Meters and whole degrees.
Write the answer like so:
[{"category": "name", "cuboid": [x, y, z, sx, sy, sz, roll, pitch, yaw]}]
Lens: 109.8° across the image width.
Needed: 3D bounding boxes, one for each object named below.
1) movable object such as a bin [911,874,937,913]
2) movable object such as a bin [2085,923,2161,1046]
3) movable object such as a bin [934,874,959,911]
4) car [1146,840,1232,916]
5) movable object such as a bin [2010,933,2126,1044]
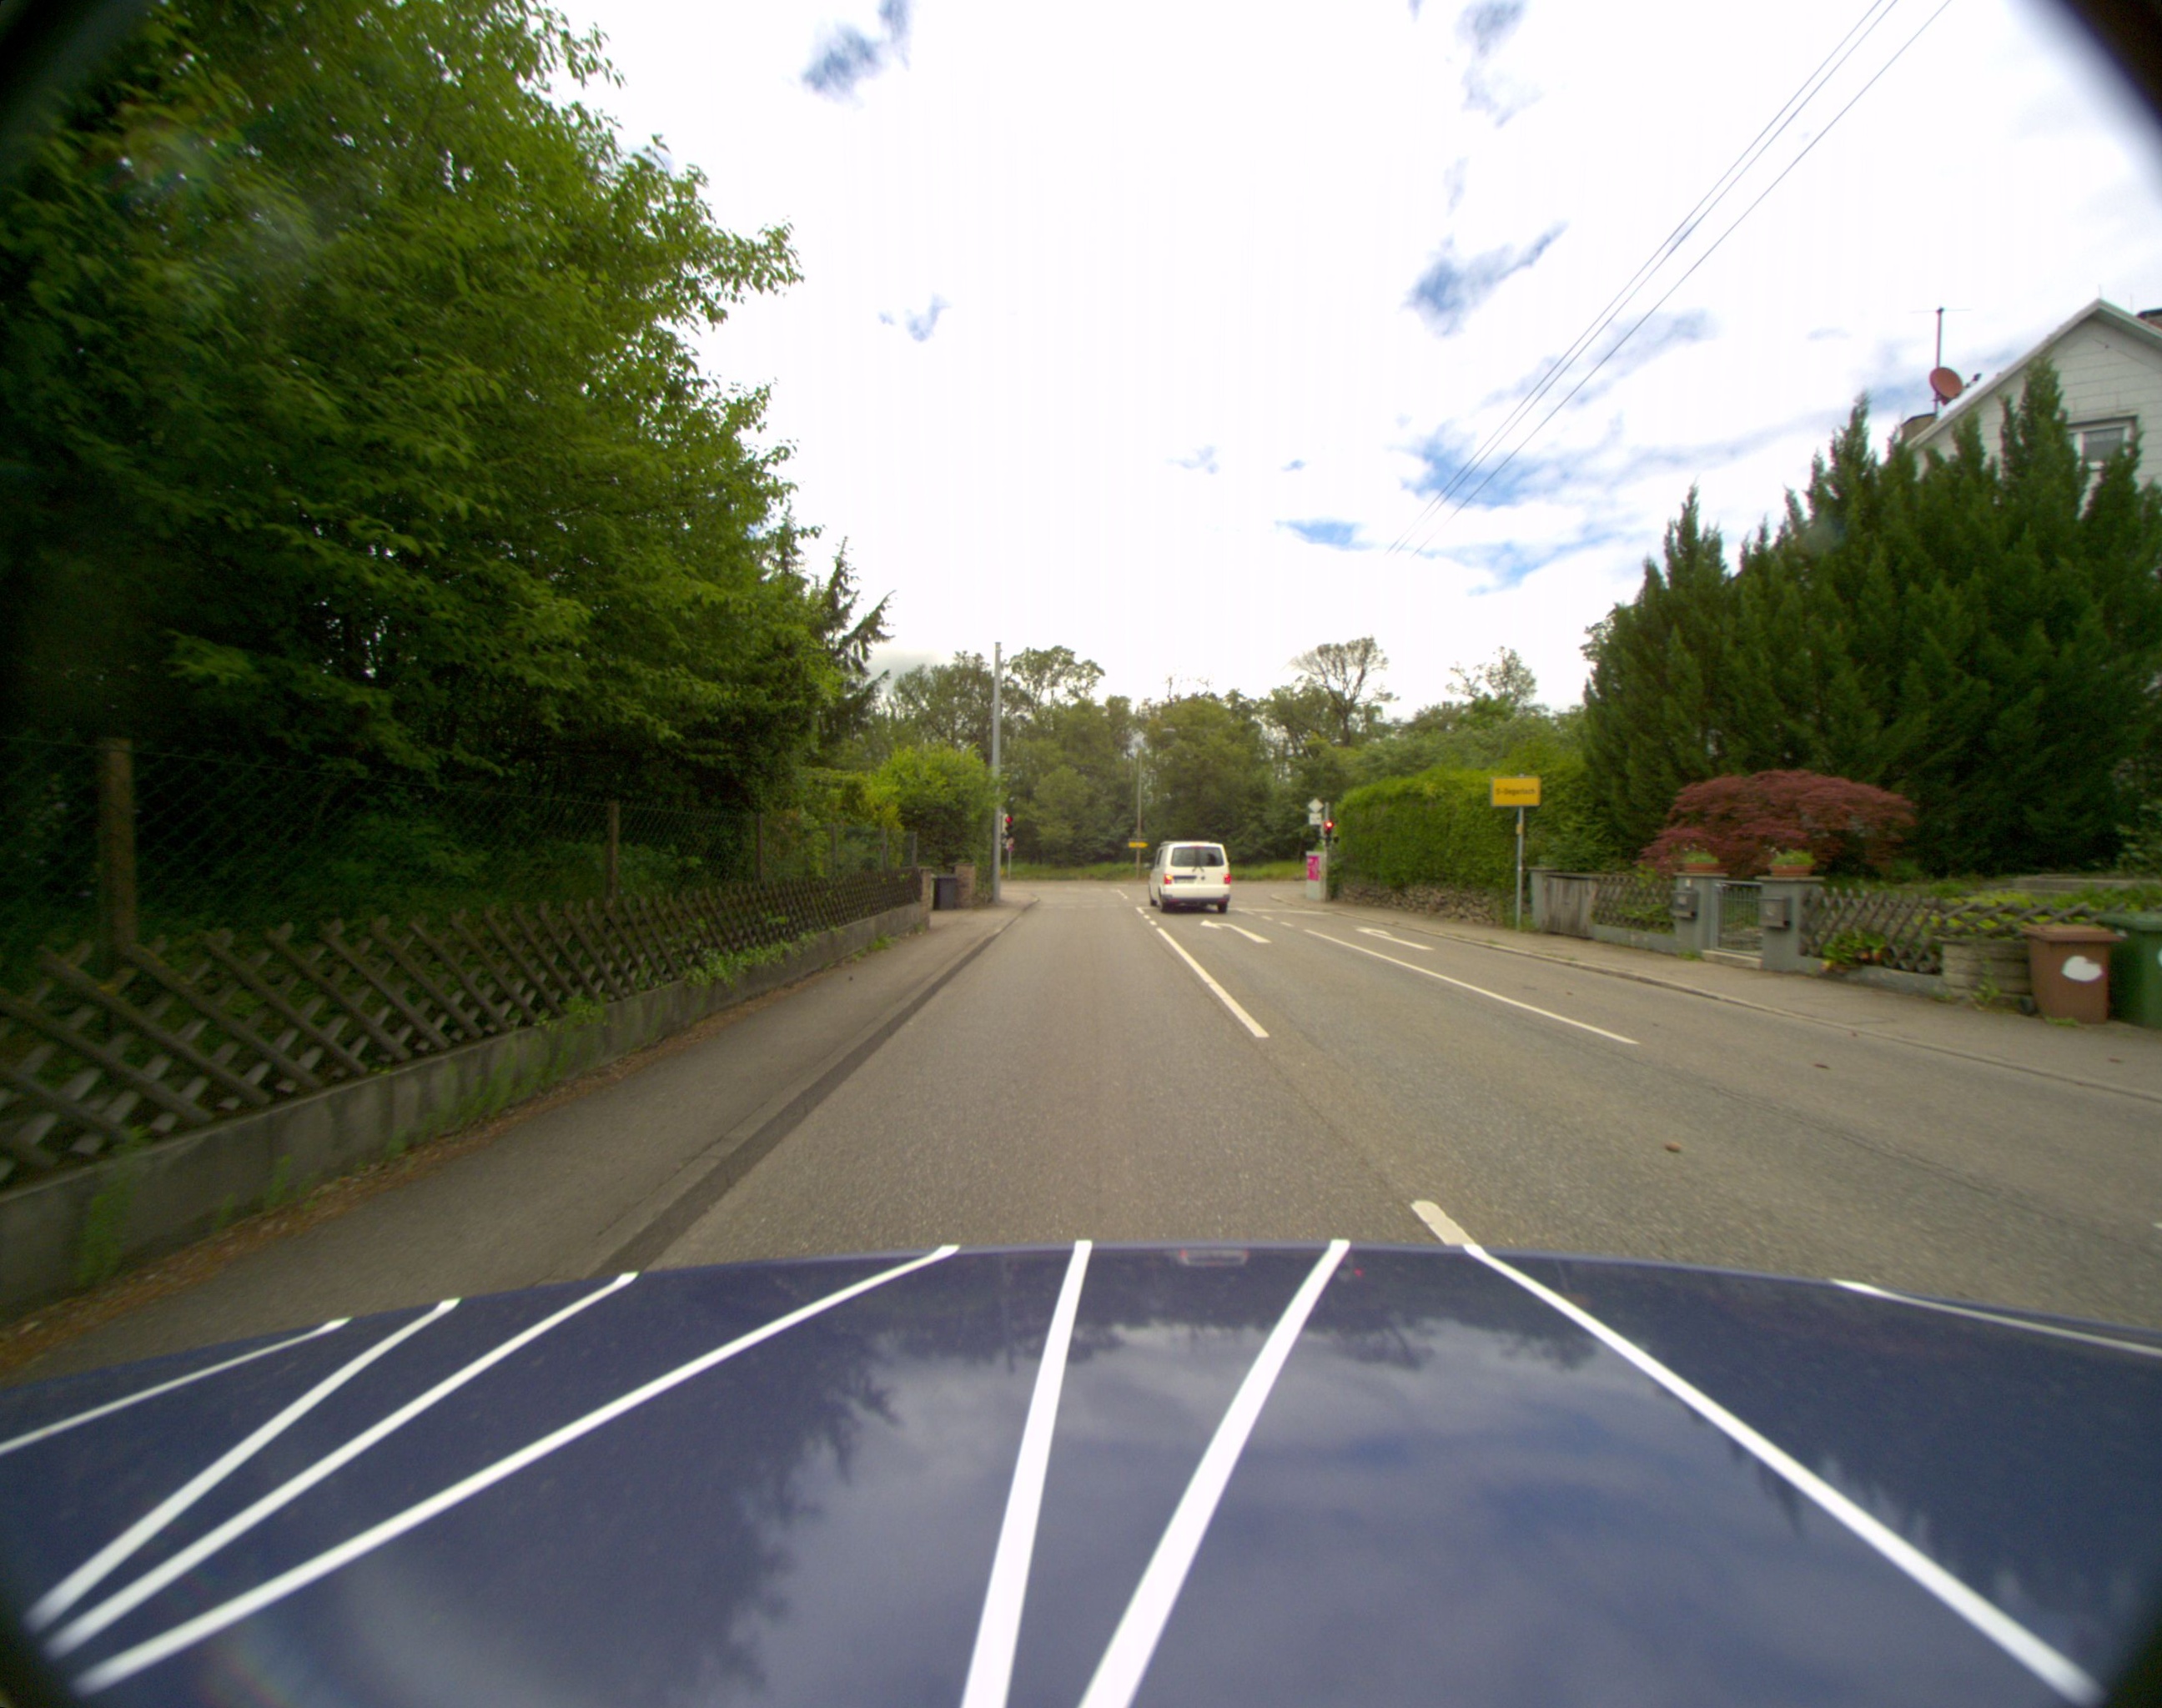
[{"category": "movable object such as a bin", "cuboid": [-4.347, 1.084, 21.024, 0.541, 1.055, 0.508, 1, -1, -37]}, {"category": "movable object such as a bin", "cuboid": [9.940, 1.200, 7.063, 0.479, 1.029, 0.717, 0, 1, 30]}, {"category": "movable object such as a bin", "cuboid": [-3.818, 1.092, 21.498, 0.541, 1.039, 0.508, 2, -1, -26]}, {"category": "car", "cuboid": [3.123, 0.652, 22.939, 1.863, 2.036, 5.171, 1, 0, 0]}, {"category": "movable object such as a bin", "cuboid": [9.500, 1.269, 7.339, 0.464, 0.936, 0.648, 0, 1, 30]}]
